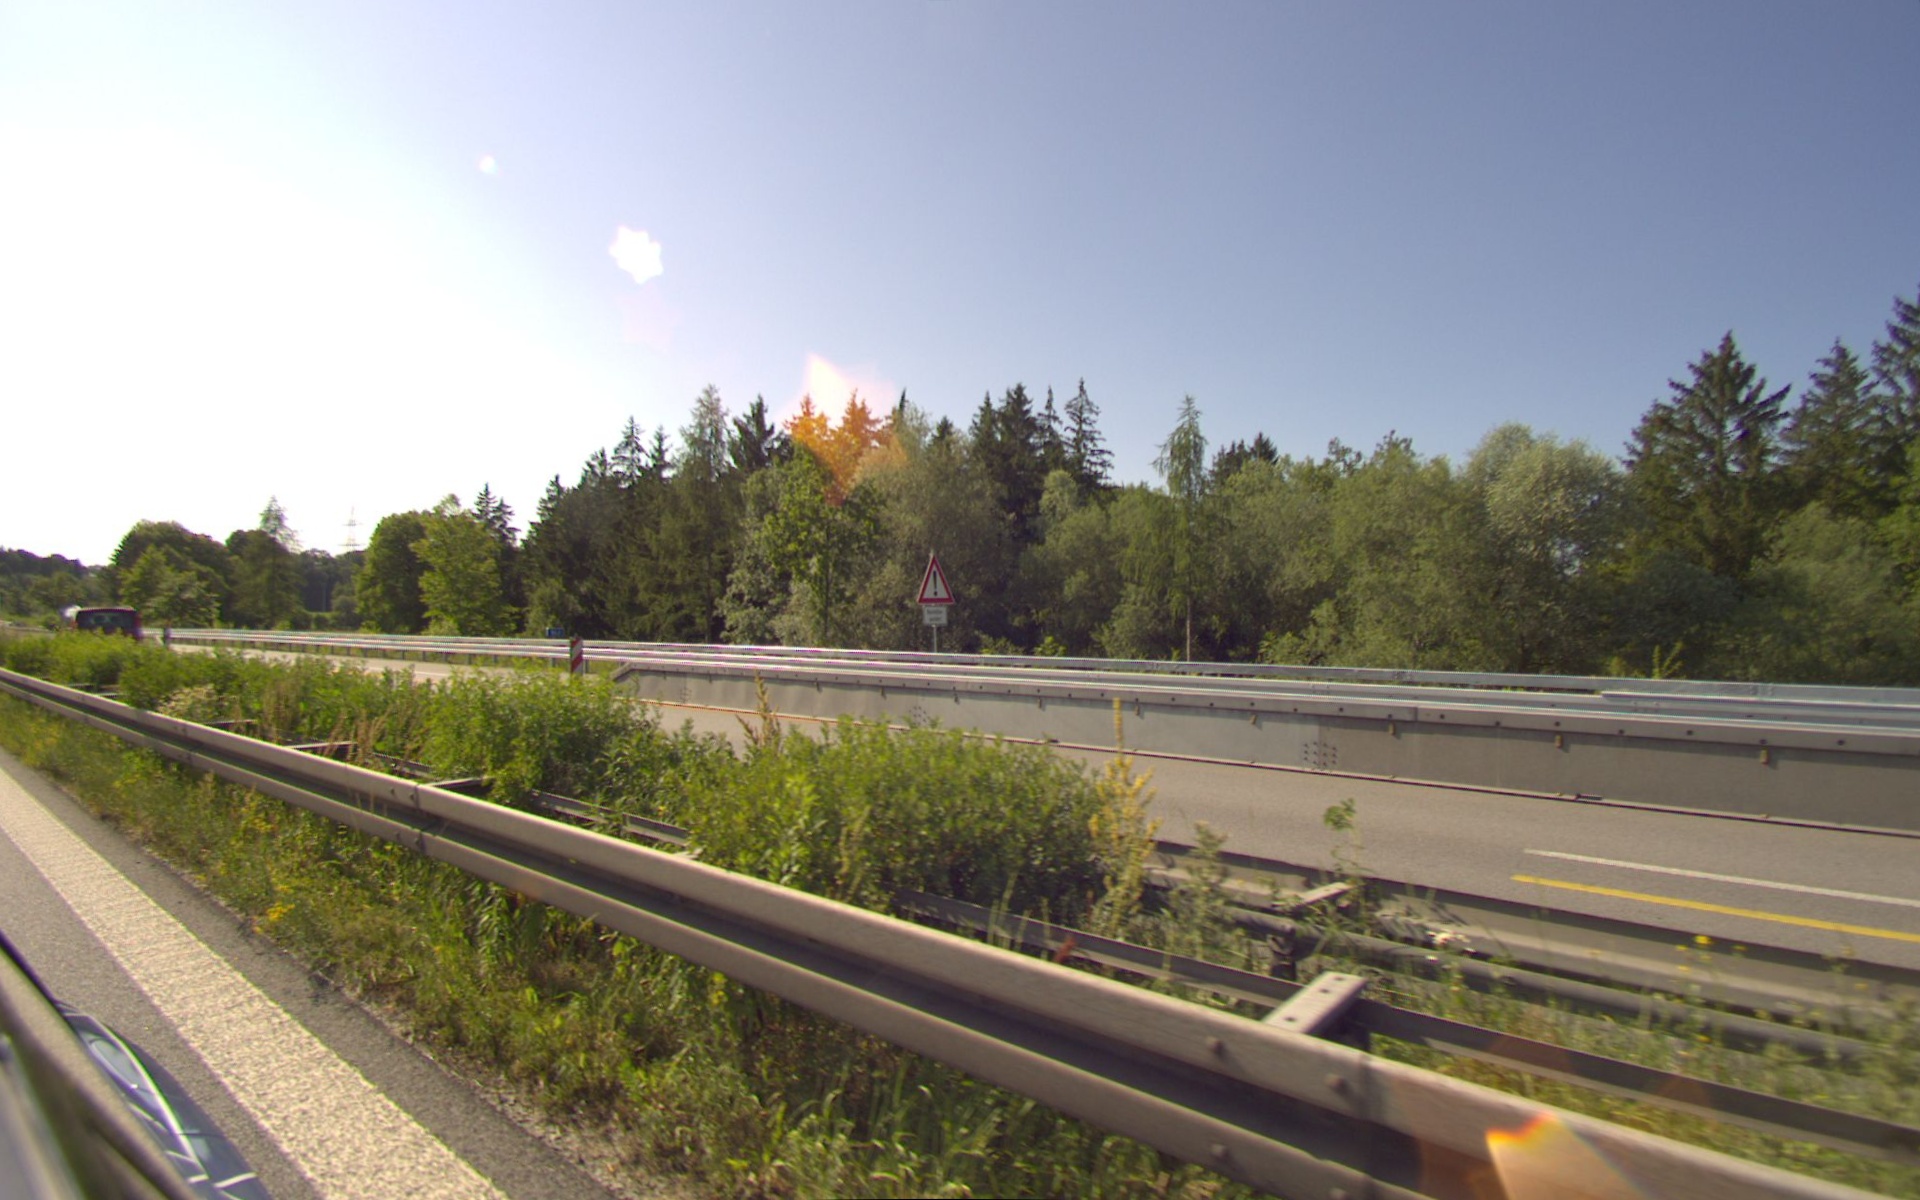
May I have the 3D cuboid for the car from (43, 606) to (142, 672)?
[{"bbox_3d":[-29.018,1.240,33.791,5.576,1.988,1.853,-1,0,43],"label":"car"}]
